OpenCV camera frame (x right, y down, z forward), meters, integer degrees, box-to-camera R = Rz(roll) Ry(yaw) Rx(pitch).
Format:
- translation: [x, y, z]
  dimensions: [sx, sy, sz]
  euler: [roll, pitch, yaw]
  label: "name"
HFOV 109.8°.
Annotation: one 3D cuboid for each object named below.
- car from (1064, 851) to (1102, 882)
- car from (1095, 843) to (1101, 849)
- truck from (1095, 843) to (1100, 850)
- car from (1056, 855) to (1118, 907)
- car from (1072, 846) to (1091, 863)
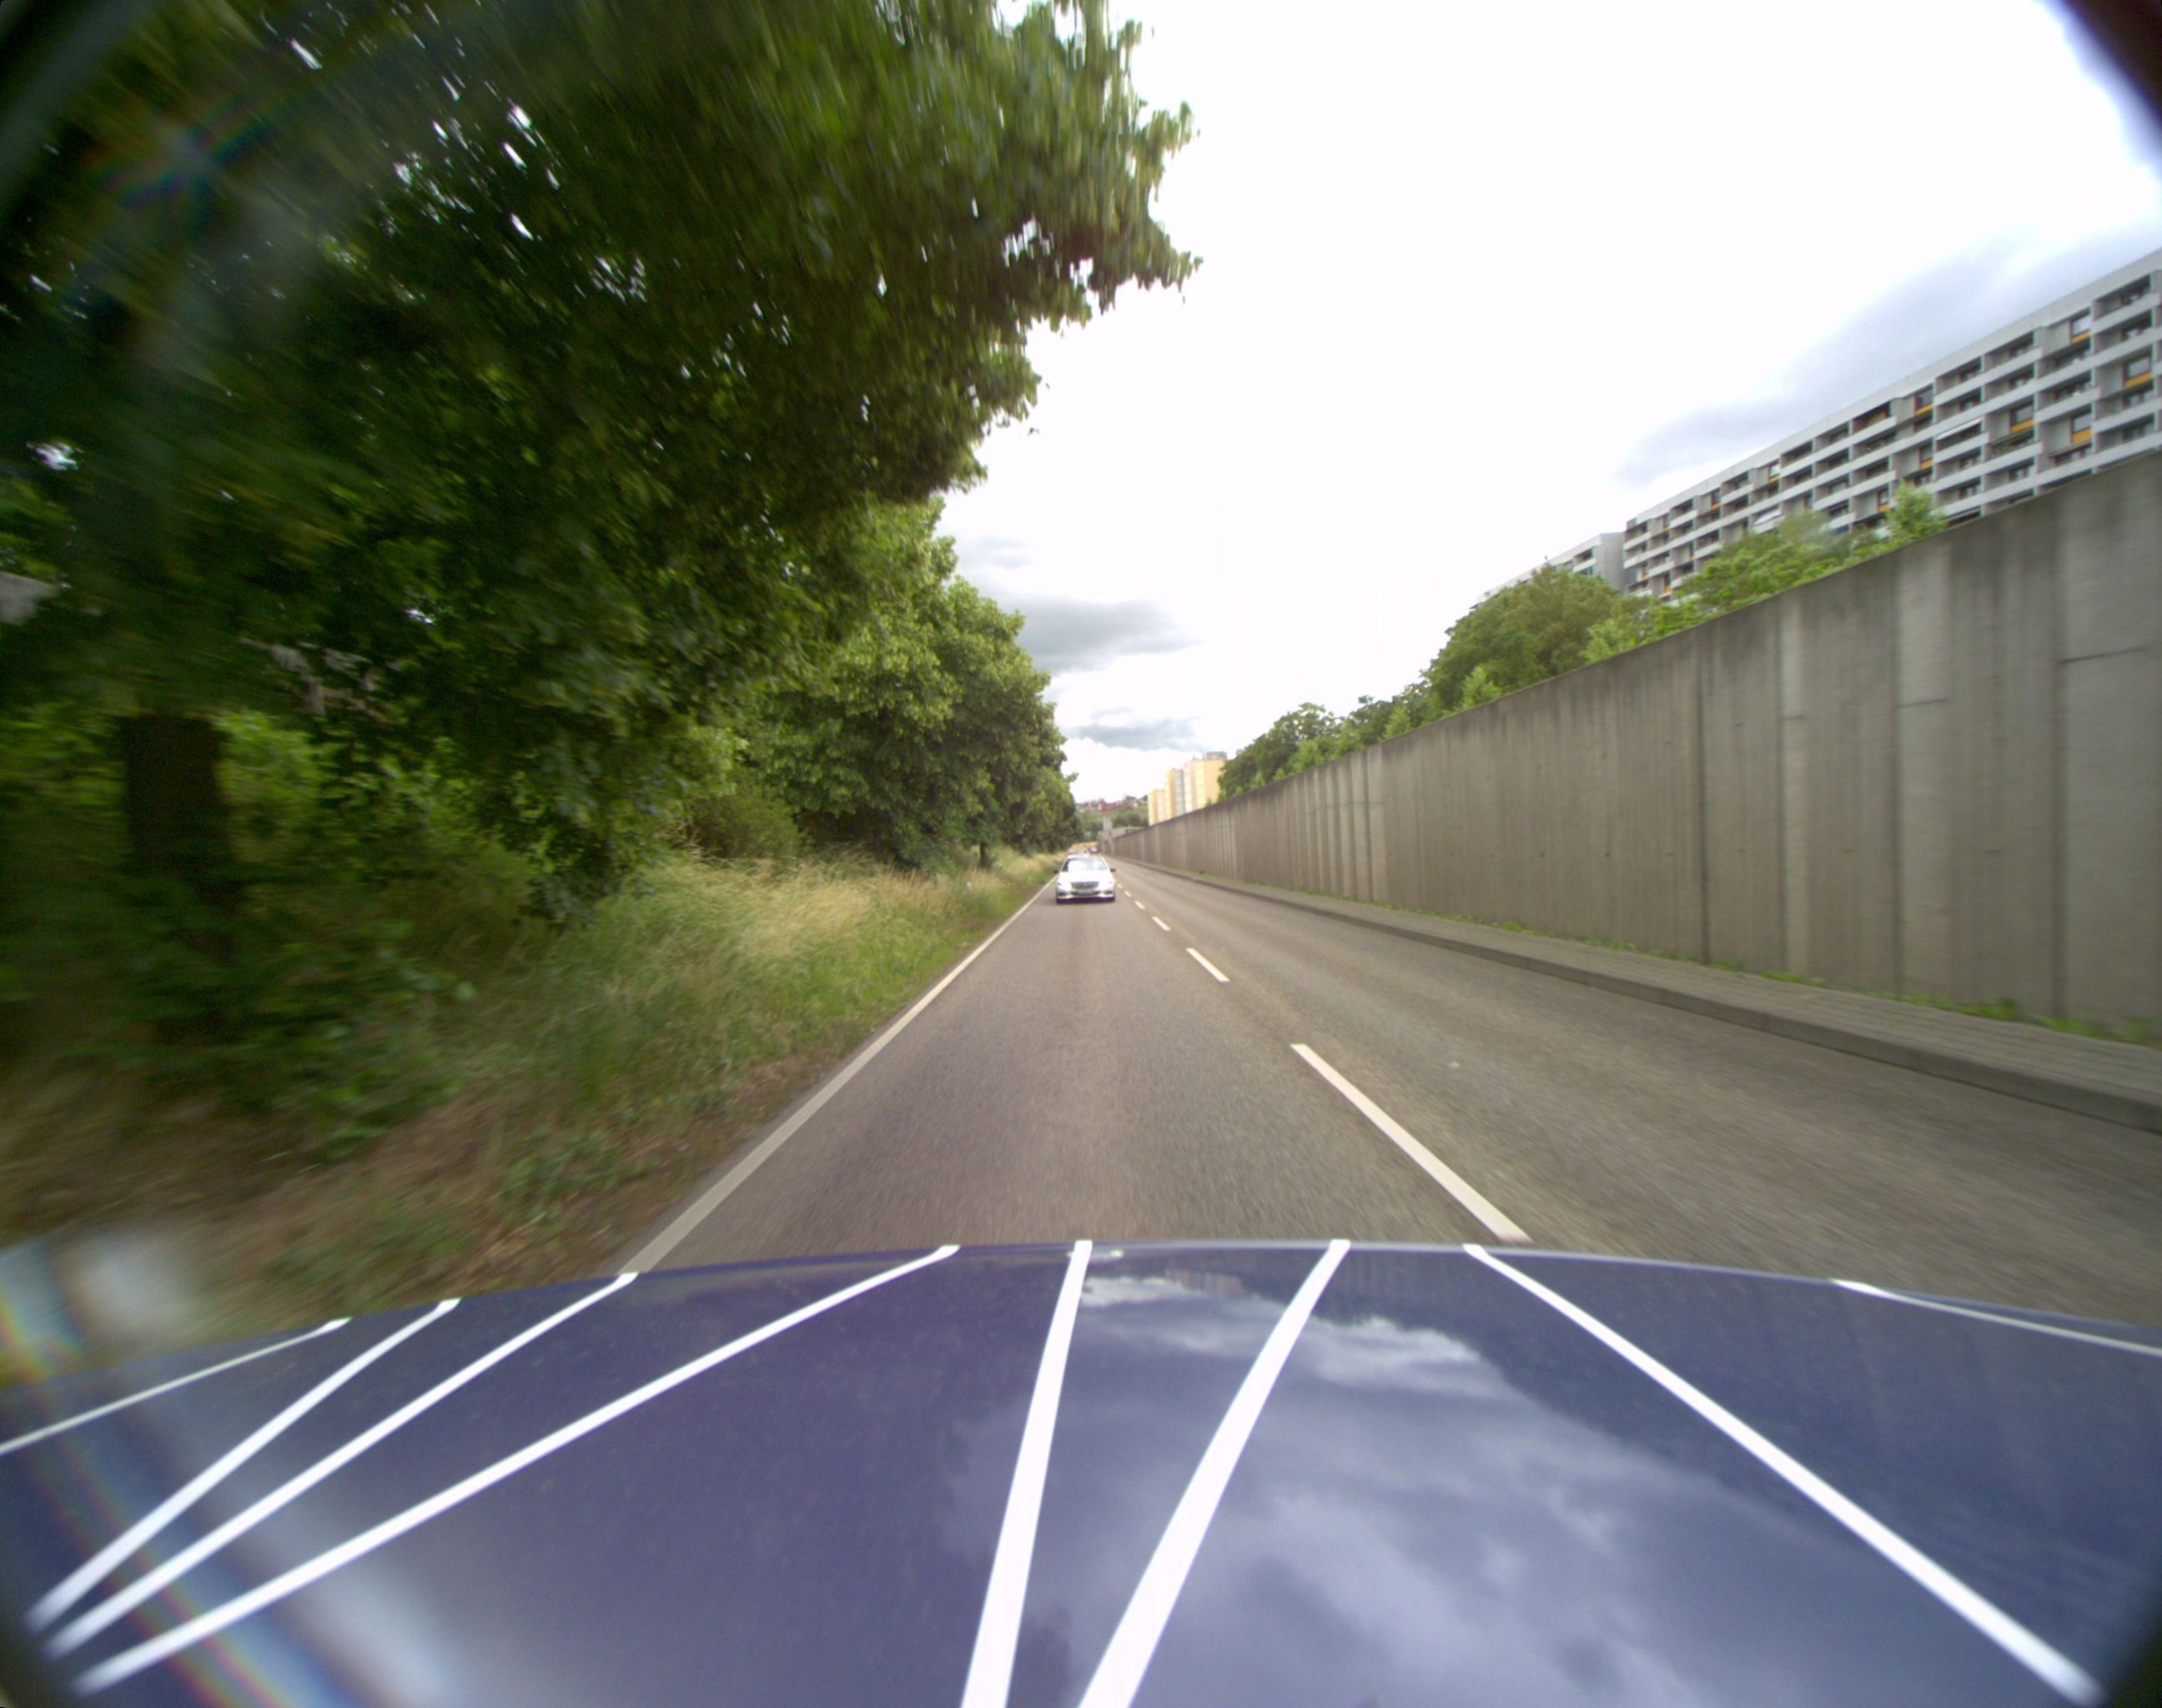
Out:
- translation: [0.122, 0.639, 41.601]
  dimensions: [1.878, 1.459, 3.999]
  euler: [-3, 1, 0]
  label: "car"
- translation: [4.818, -2.311, 213.100]
  dimensions: [1.639, 1.478, 3.493]
  euler: [-5, 0, 1]
  label: "car"
- translation: [5.313, -2.493, 245.927]
  dimensions: [1.593, 2.210, 3.999]
  euler: [-3, 1, 0]
  label: "truck"
- translation: [0.208, 0.831, 25.470]
  dimensions: [1.842, 1.499, 4.160]
  euler: [-2, 1, 0]
  label: "car"
- translation: [0.041, 0.009, 84.397]
  dimensions: [1.998, 1.746, 4.000]
  euler: [-3, 1, 1]
  label: "car"
